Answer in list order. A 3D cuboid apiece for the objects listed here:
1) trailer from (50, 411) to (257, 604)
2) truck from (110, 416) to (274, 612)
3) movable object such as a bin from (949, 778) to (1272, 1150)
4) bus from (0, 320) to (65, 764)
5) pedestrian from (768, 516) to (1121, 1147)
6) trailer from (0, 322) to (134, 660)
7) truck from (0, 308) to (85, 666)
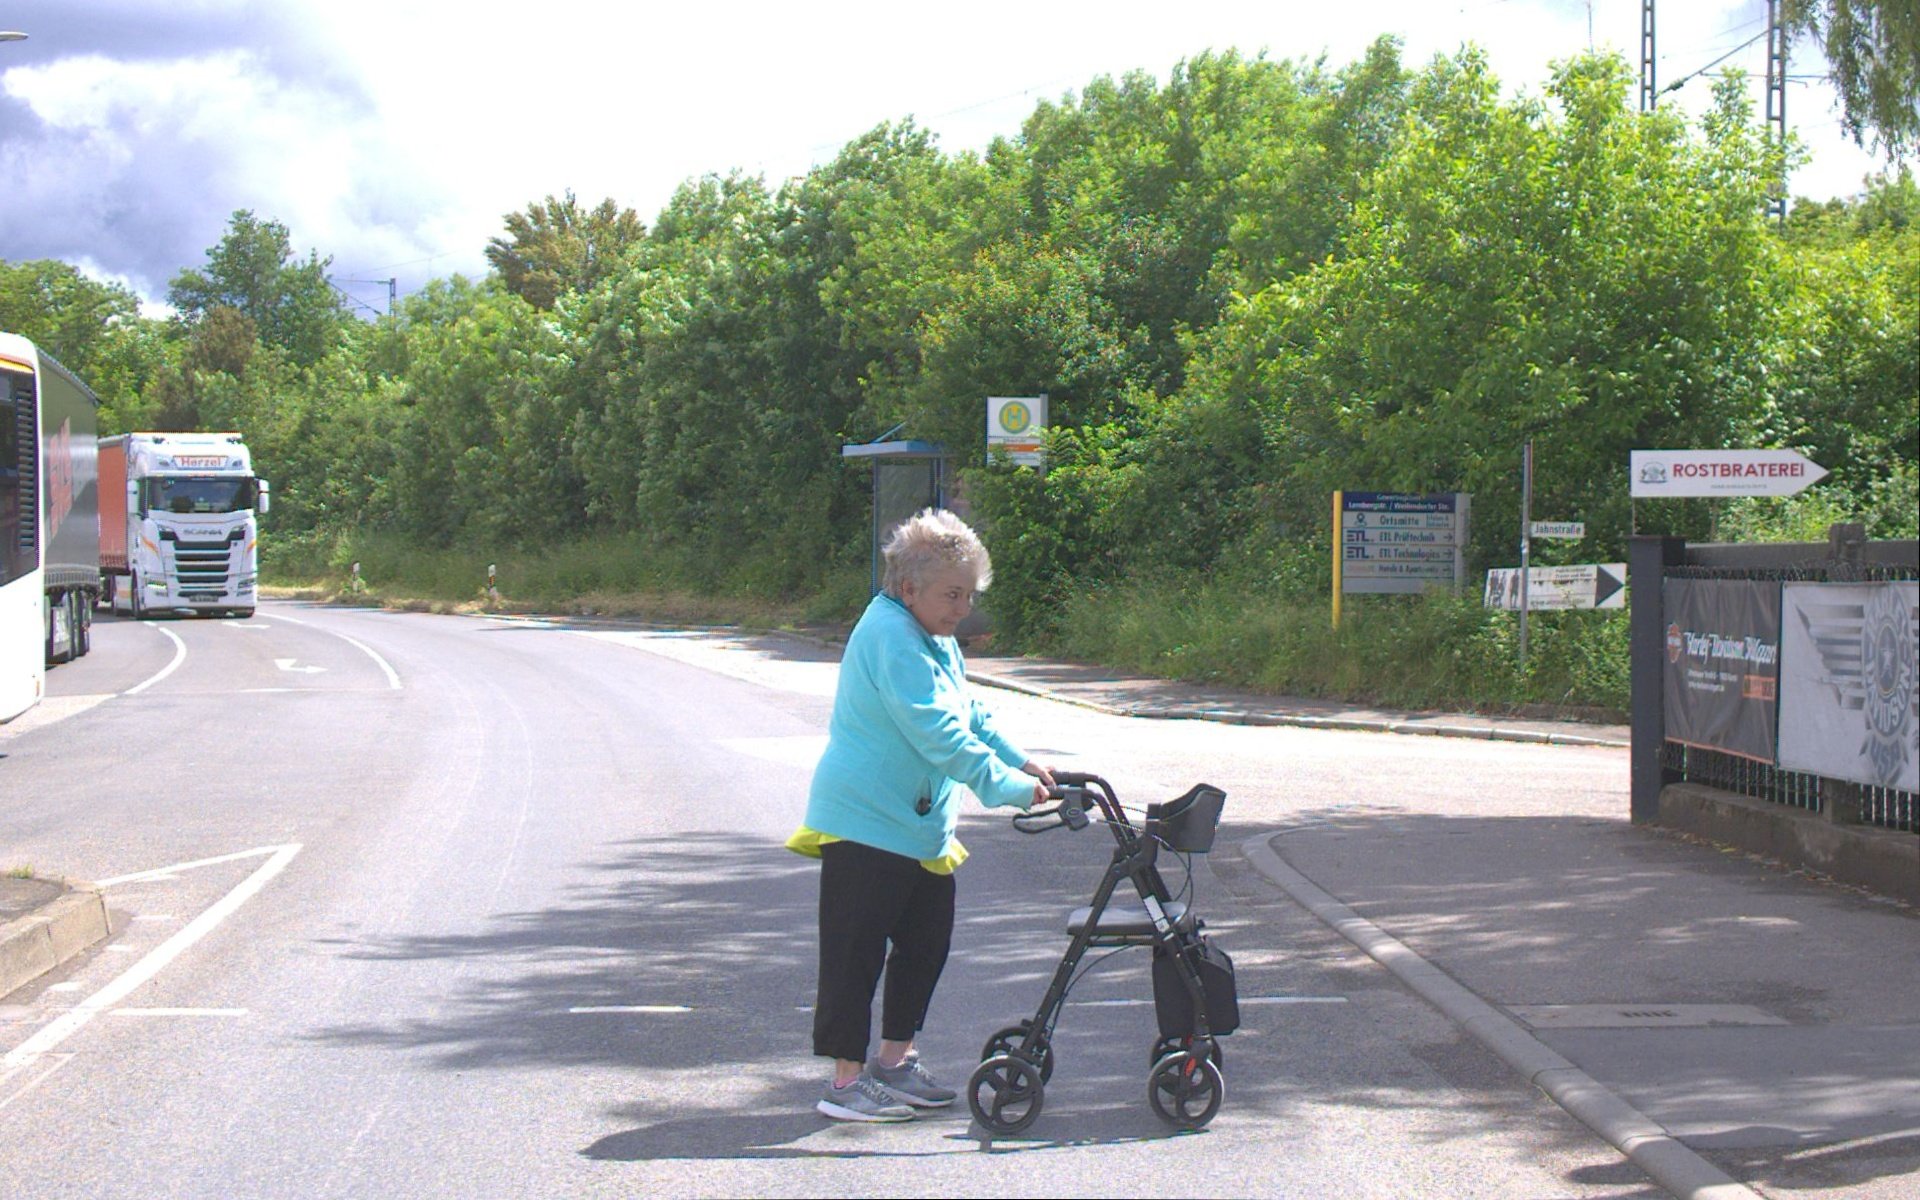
[{"bbox_3d":[-19.439,-2.109,81.990,2.770,4.130,15.355,1,1,-21],"label":"trailer"},{"bbox_3d":[-16.813,-1.835,75.109,2.770,4.105,4.988,1,1,-21],"label":"truck"},{"bbox_3d":[0.371,0.915,8.805,0.746,0.868,0.671,1,0,-4],"label":"movable object such as a bin"},{"bbox_3d":[-7.839,-0.345,18.972,2.718,3.020,12.266,0,1,-1],"label":"bus"},{"bbox_3d":[-0.057,0.565,8.779,0.838,1.538,0.734,1,0,-4],"label":"pedestrian"},{"bbox_3d":[-13.622,-1.415,48.766,2.798,4.039,15.560,1,1,-10],"label":"trailer"},{"bbox_3d":[-12.348,-1.327,41.858,2.798,4.039,6.503,1,1,-10],"label":"truck"}]
